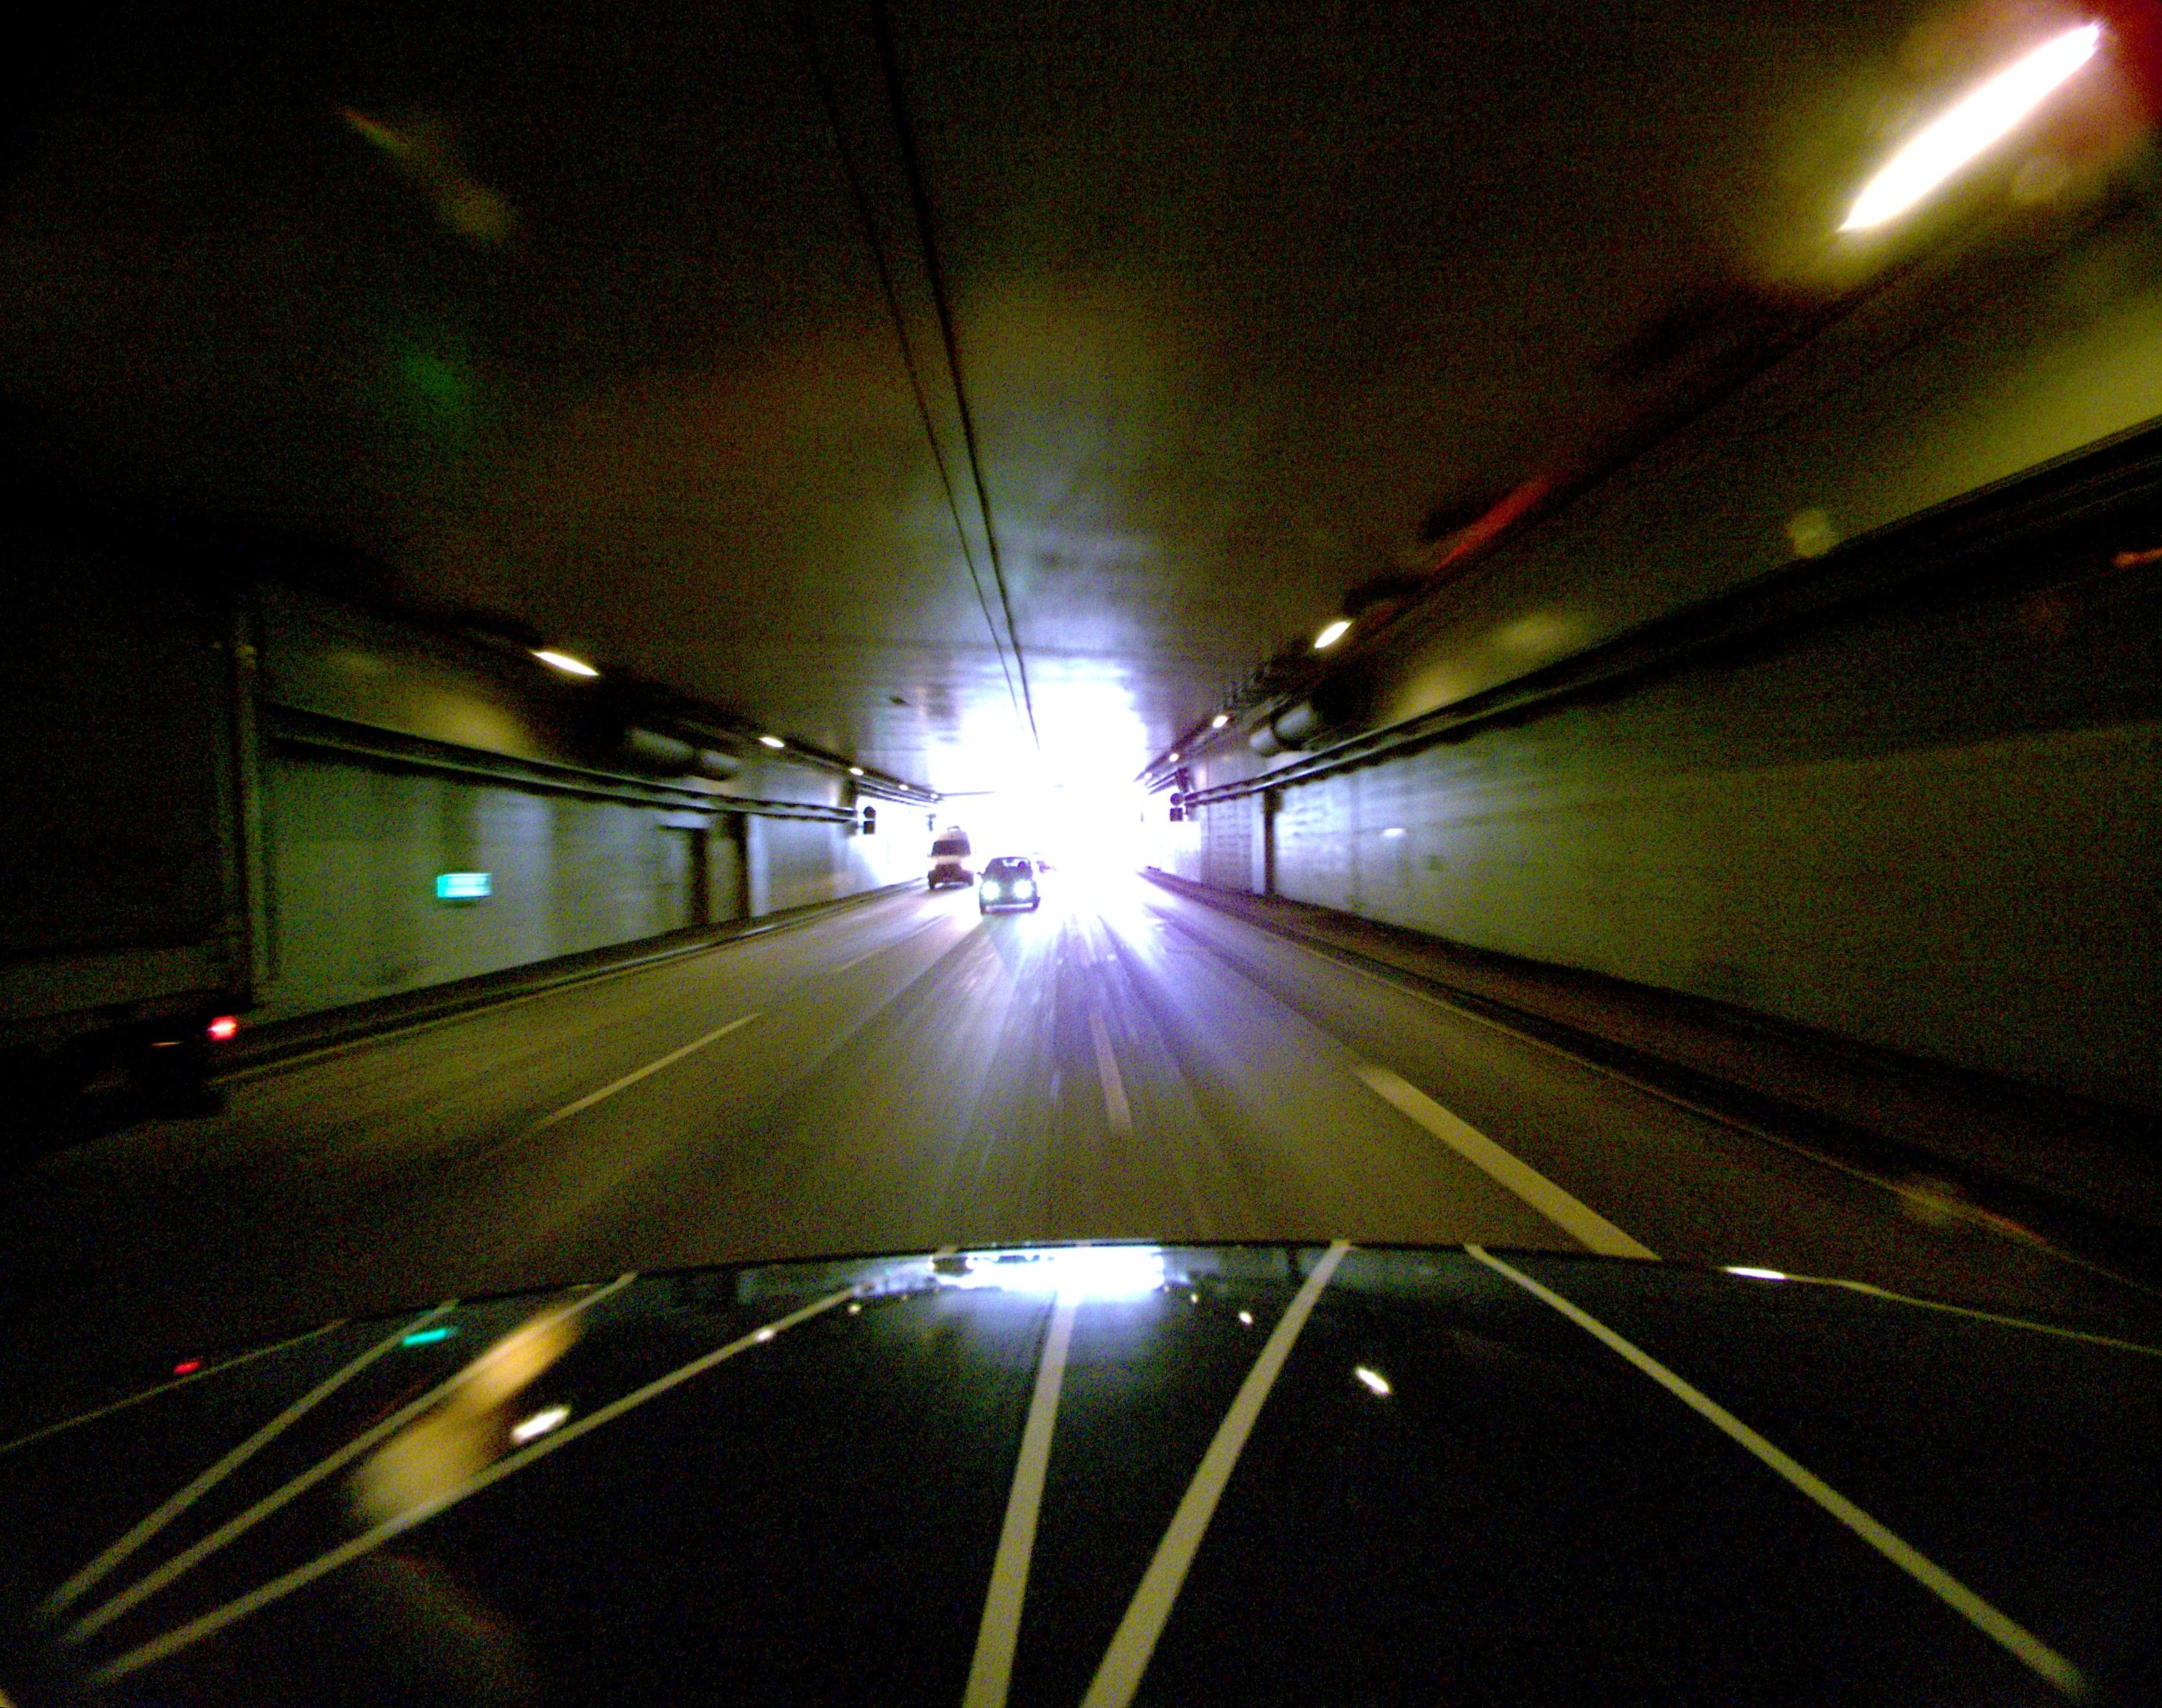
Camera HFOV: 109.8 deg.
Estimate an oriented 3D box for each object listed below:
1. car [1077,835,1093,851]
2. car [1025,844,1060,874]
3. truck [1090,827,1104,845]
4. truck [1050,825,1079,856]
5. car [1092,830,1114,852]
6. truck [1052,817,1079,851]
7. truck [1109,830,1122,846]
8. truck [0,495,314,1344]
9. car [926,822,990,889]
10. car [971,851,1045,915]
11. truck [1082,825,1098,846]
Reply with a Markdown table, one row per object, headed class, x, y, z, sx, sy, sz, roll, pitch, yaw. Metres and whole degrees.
| class | x | y | z | sx | sy | sz | roll | pitch | yaw |
| --- | --- | --- | --- | --- | --- | --- | --- | --- | --- |
| car | 0.467 | -1.273 | 87.268 | 1.639 | 1.662 | 3.714 | -3 | 3 | 1 |
| car | -2.212 | 0.271 | 44.824 | 1.764 | 1.552 | 3.818 | -5 | 0 | -1 |
| truck | 2.952 | -3.393 | 141.521 | 2.494 | 3.122 | 6.374 | -3 | 3 | 2 |
| truck | -1.445 | -1.310 | 70.324 | 2.073 | 2.526 | 6.022 | -3 | 3 | 4 |
| car | 2.031 | -1.255 | 72.104 | 1.935 | 1.919 | 4.195 | -3 | 2 | 1 |
| truck | -2.093 | -2.893 | 105.542 | 2.886 | 4.448 | 10.451 | -3 | 3 | 3 |
| truck | 6.338 | -3.015 | 140.155 | 2.138 | 2.713 | 5.669 | -3 | 3 | 1 |
| truck | -5.209 | 0.266 | 0.284 | 2.560 | 3.162 | 7.243 | -2 | 0 | -2 |
| car | -5.658 | -0.009 | 35.913 | 2.107 | 2.831 | 6.857 | -1 | 1 | -2 |
| car | -2.037 | 0.768 | 22.135 | 1.639 | 1.552 | 3.715 | -3 | 1 | 1 |
| truck | 1.552 | -3.269 | 131.480 | 2.494 | 3.370 | 6.373 | -3 | 3 | 1 |
